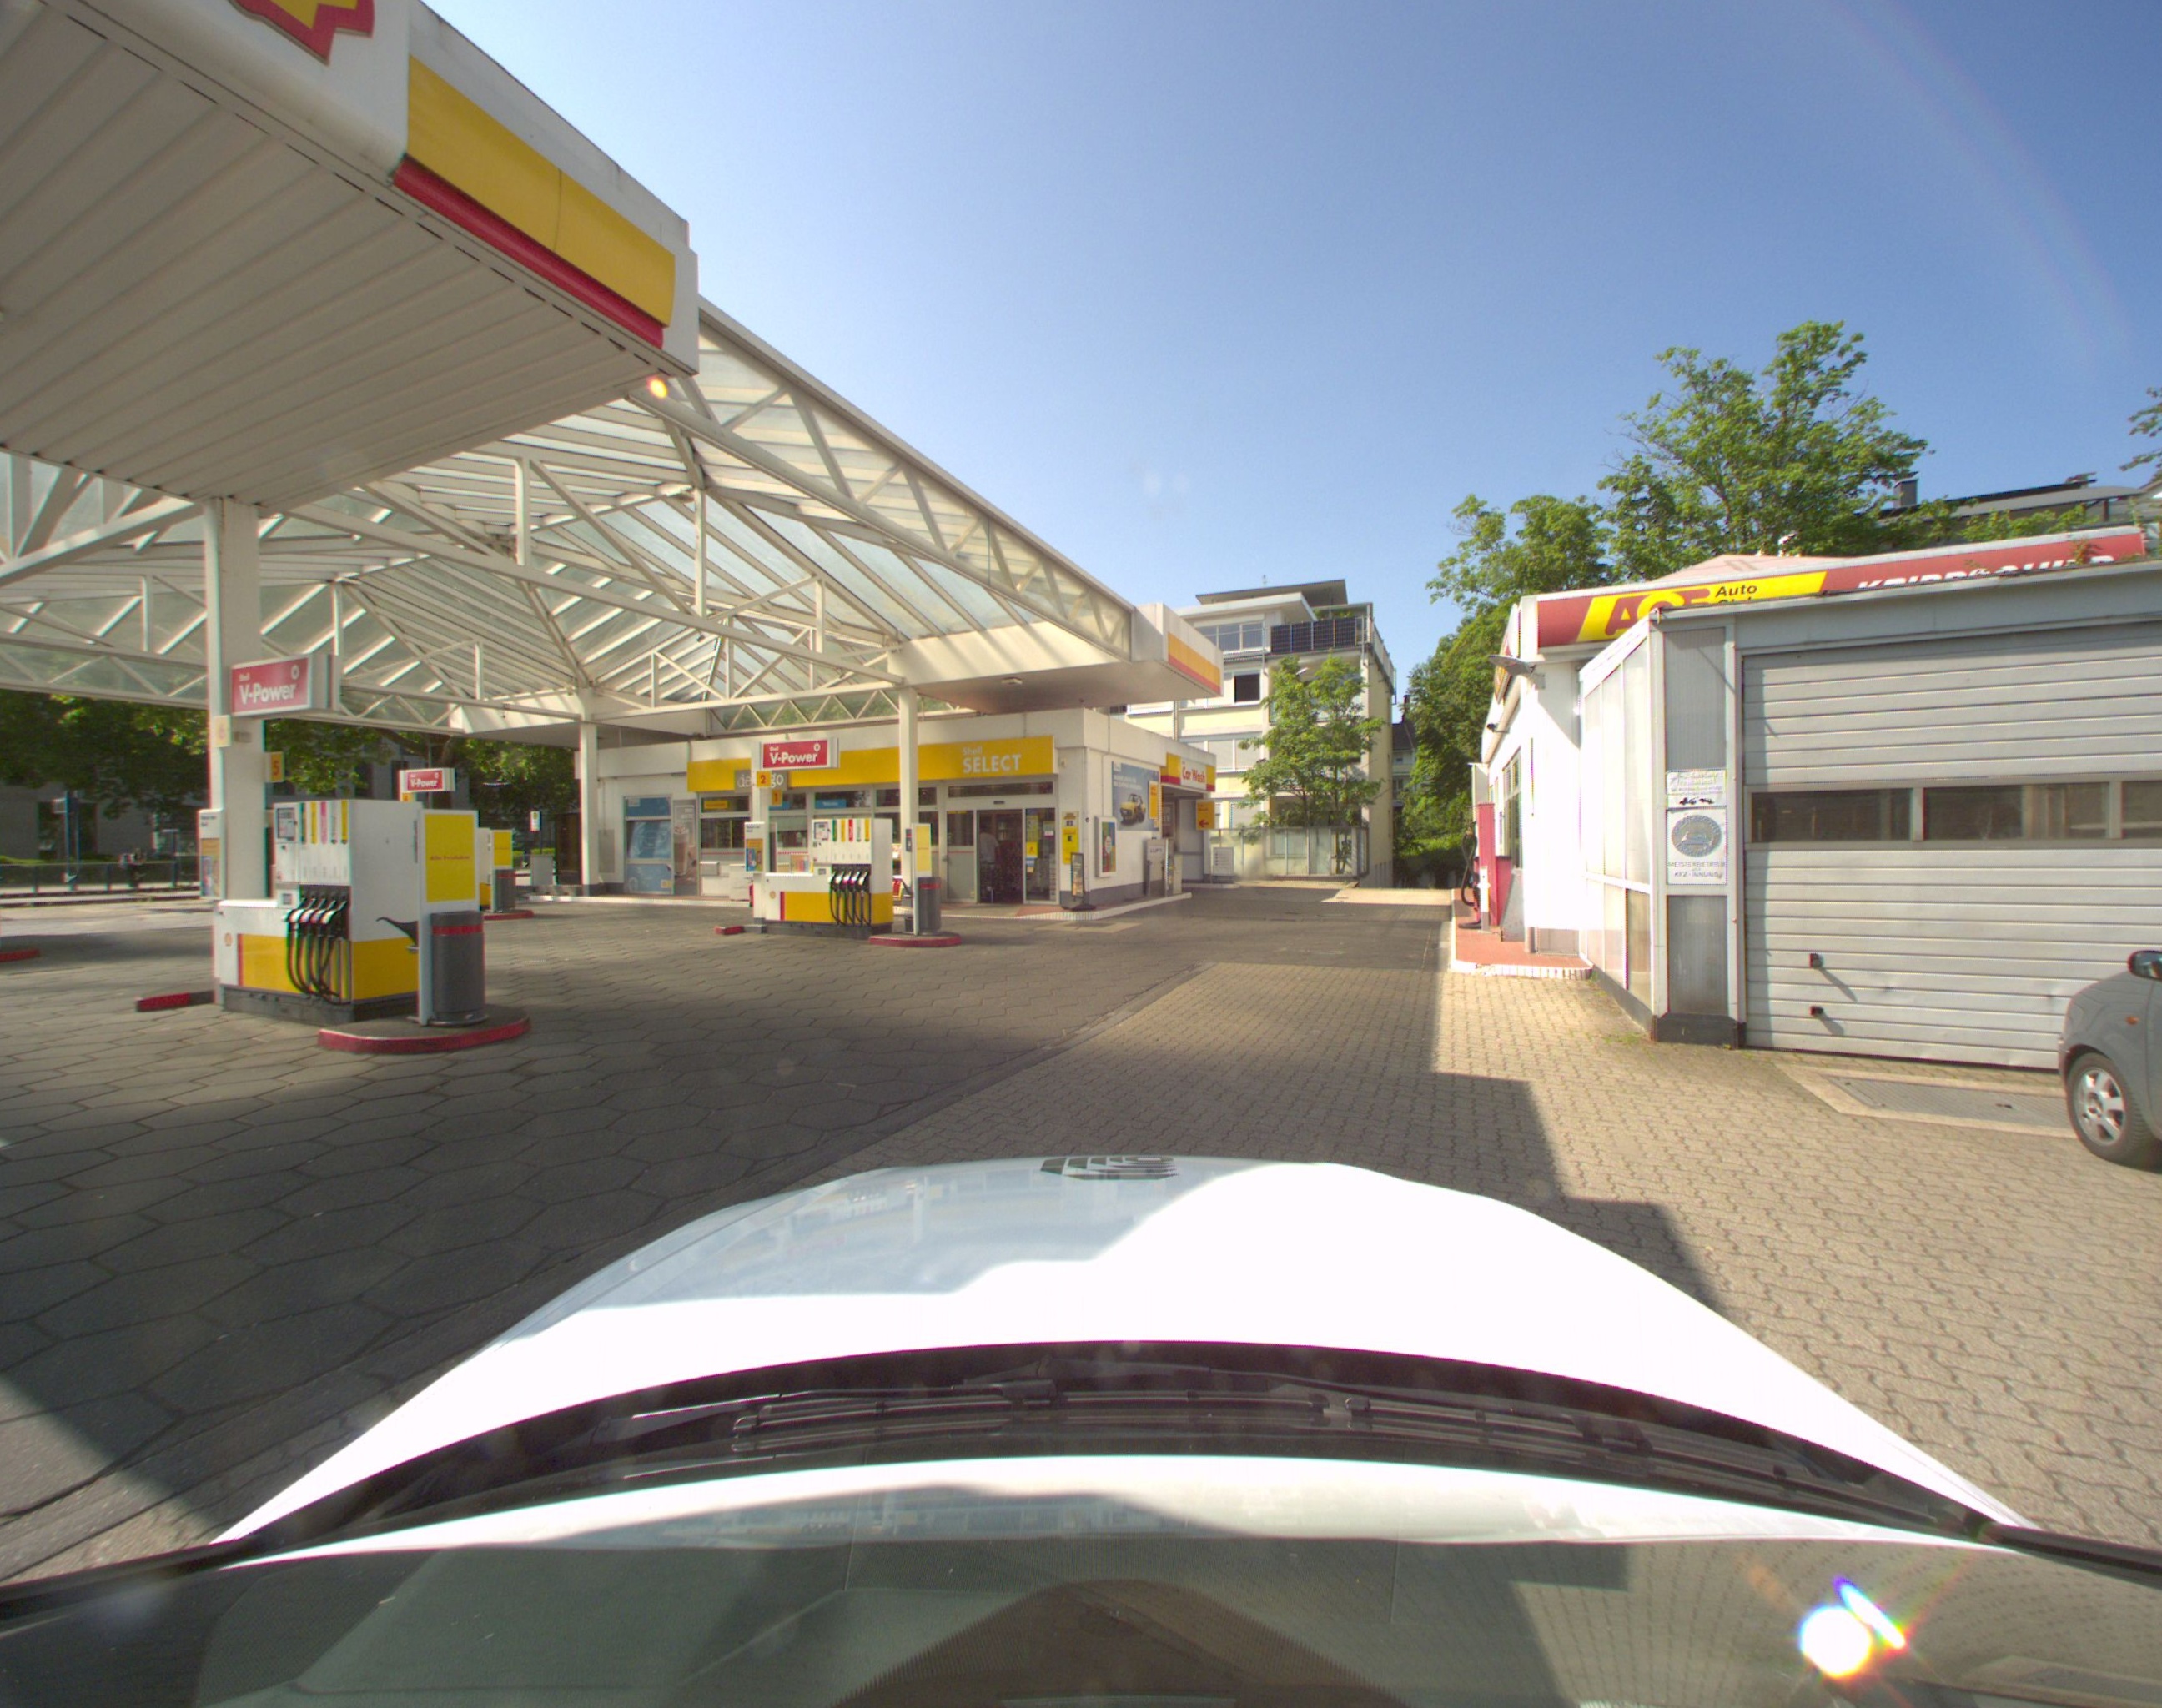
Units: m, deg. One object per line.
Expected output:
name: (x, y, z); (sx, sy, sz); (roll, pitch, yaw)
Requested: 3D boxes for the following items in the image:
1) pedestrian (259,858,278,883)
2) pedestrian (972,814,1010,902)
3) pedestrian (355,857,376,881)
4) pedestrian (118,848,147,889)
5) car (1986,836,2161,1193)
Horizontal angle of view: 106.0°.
pedestrian: (-36.758, 0.742, 36.847); (0.517, 1.138, 0.504); (0, 1, 31)
pedestrian: (-2.092, 0.088, 19.044); (0.616, 2.013, 0.746); (-1, 1, 16)
pedestrian: (-35.294, 0.735, 40.197); (0.517, 1.137, 0.634); (0, 1, 31)
pedestrian: (-38.329, 0.571, 32.909); (0.662, 1.591, 0.589); (1, 1, 24)
car: (5.452, 0.720, 2.963); (1.671, 1.617, 3.684); (0, 0, 27)
